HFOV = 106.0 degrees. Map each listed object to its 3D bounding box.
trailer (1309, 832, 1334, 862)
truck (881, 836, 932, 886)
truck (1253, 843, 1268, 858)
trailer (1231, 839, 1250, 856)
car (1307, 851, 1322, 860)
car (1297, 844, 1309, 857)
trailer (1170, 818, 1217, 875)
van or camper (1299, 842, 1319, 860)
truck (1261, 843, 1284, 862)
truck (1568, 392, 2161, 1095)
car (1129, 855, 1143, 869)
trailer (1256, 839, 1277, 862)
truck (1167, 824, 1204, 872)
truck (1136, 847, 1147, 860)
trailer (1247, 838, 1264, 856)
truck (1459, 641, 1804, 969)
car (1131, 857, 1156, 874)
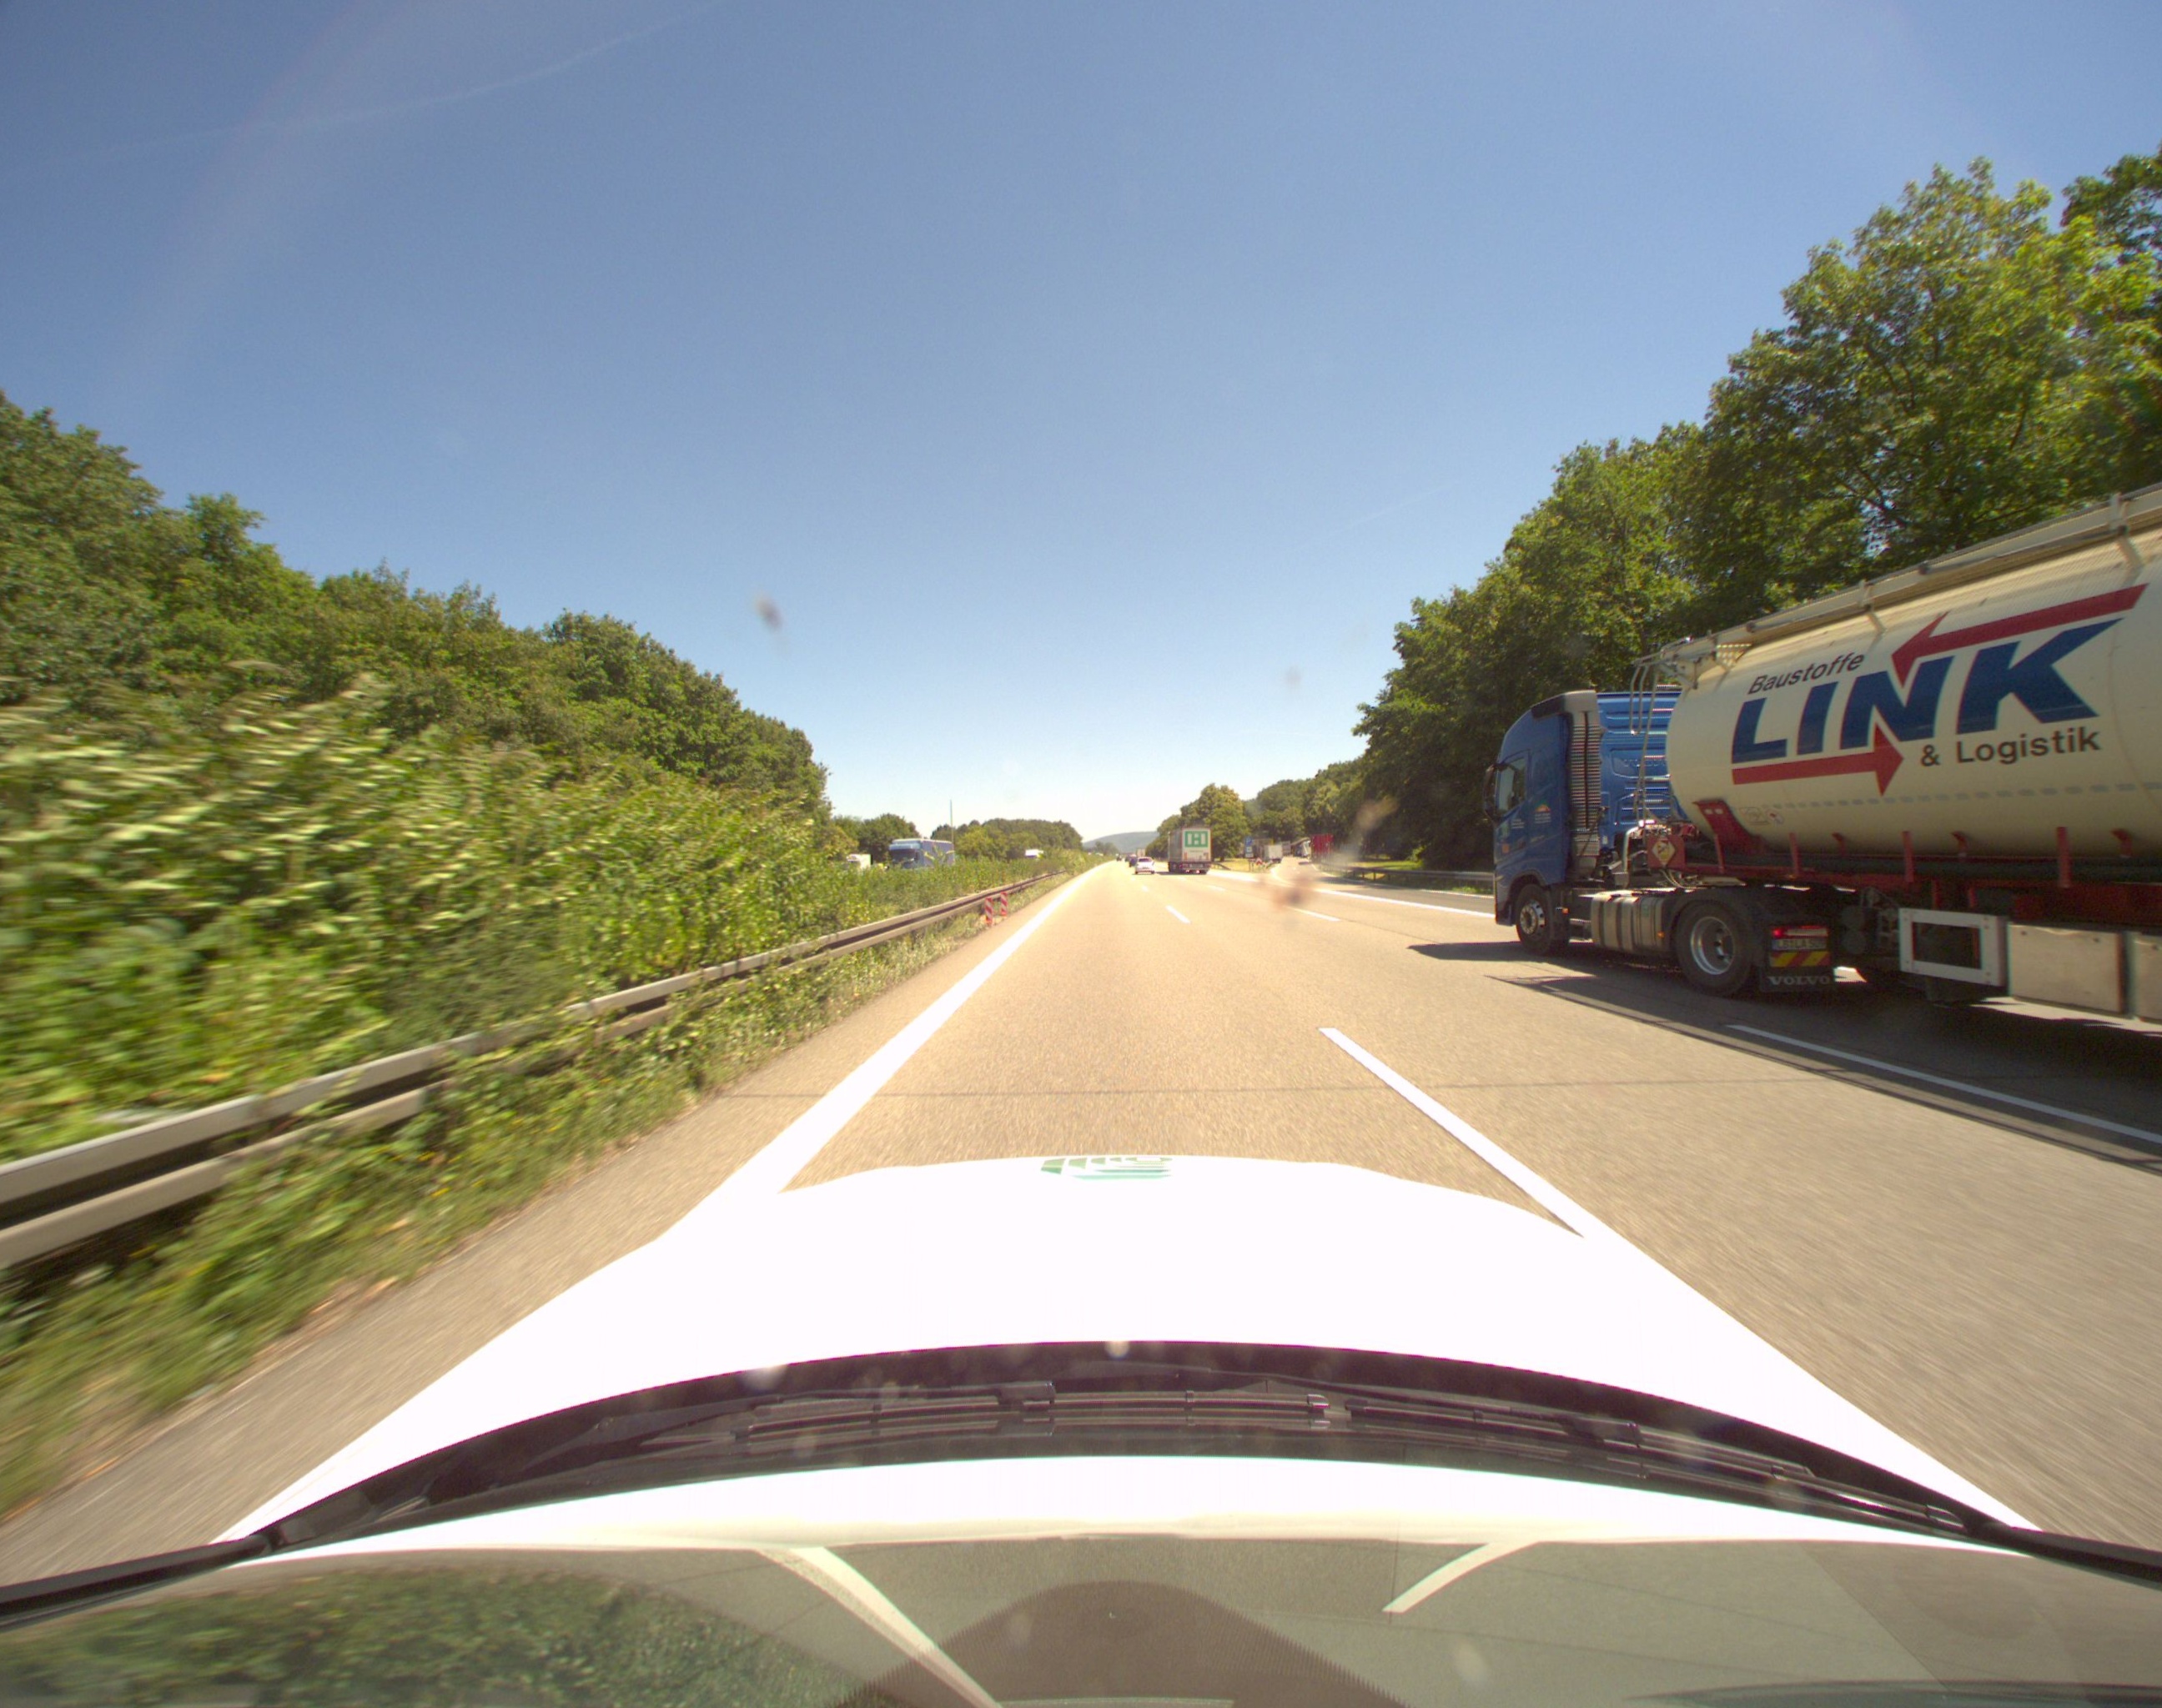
[{"bbox_3d":[33.813,-0.893,114.810,2.957,3.878,12.939,-2,0,15],"label":"trailer"},{"bbox_3d":[-14.780,0.571,69.450,2.807,3.971,5.873,-2,0,1],"label":"truck"},{"bbox_3d":[37.205,-0.768,168.981,2.454,3.086,6.633,-1,0,9],"label":"truck"},{"bbox_3d":[39.581,-1.526,202.096,3.120,3.952,14.218,-2,0,5],"label":"trailer"},{"bbox_3d":[39.644,0.223,138.238,1.980,1.451,5.051,-2,0,12],"label":"car"},{"bbox_3d":[44.920,-0.681,165.148,1.980,2.439,4.795,-2,0,12],"label":"car"},{"bbox_3d":[9.924,-0.615,73.138,3.168,4.627,12.061,-2,0,4],"label":"trailer"},{"bbox_3d":[42.044,-0.515,150.482,2.979,3.235,7.021,-2,0,11],"label":"van or camper"},{"bbox_3d":[29.885,-0.207,127.181,2.456,2.946,7.670,-1,0,5],"label":"truck"},{"bbox_3d":[7.474,-0.639,5.458,2.433,4.044,10.547,-1,0,2],"label":"truck"},{"bbox_3d":[8.197,1.192,121.143,1.888,1.892,4.006,-2,-1,6],"label":"car"},{"bbox_3d":[32.944,-0.620,144.959,3.163,3.935,11.587,-1,0,12],"label":"trailer"},{"bbox_3d":[10.427,-0.583,81.764,3.169,4.607,5.952,-1,0,3],"label":"truck"},{"bbox_3d":[18.439,-0.168,249.472,3.311,3.756,12.807,-1,0,3],"label":"truck"},{"bbox_3d":[38.953,-1.559,181.791,3.083,3.790,13.398,-1,0,10],"label":"trailer"},{"bbox_3d":[7.765,-0.599,12.145,2.439,4.038,4.074,-1,-1,2],"label":"truck"},{"bbox_3d":[5.571,0.988,73.251,1.808,1.405,3.313,-2,0,-4],"label":"car"}]
